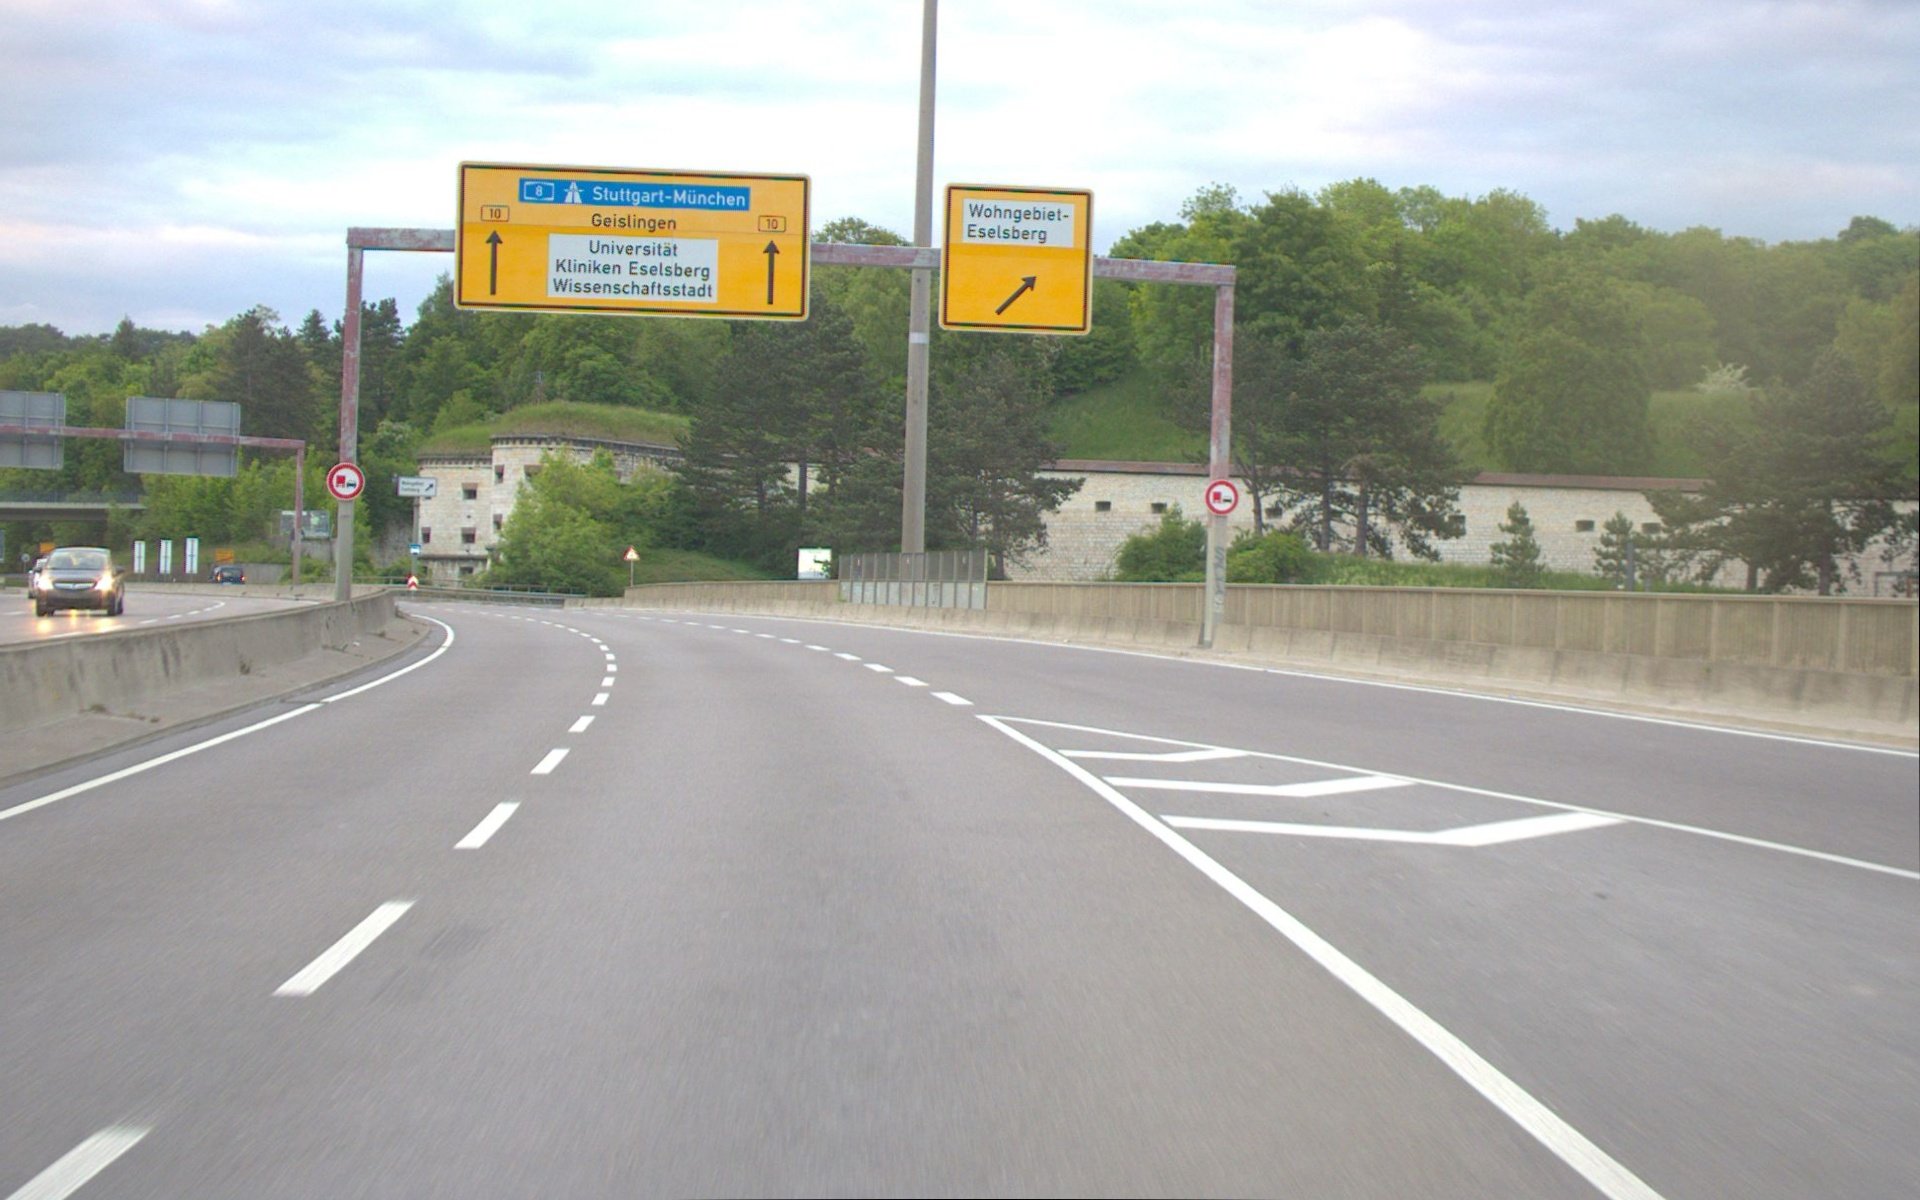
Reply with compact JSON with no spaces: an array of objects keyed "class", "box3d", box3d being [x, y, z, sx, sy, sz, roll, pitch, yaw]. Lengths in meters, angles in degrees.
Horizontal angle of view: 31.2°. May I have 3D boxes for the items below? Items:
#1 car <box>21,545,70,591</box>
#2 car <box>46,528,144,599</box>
[{"class":"car","box3d":[-35.928,-1.272,135.172,1.667,1.727,4.001,1,1,-13]},{"class":"car","box3d":[-18.678,-0.794,74.347,1.730,1.471,4.225,1,1,-10]}]
